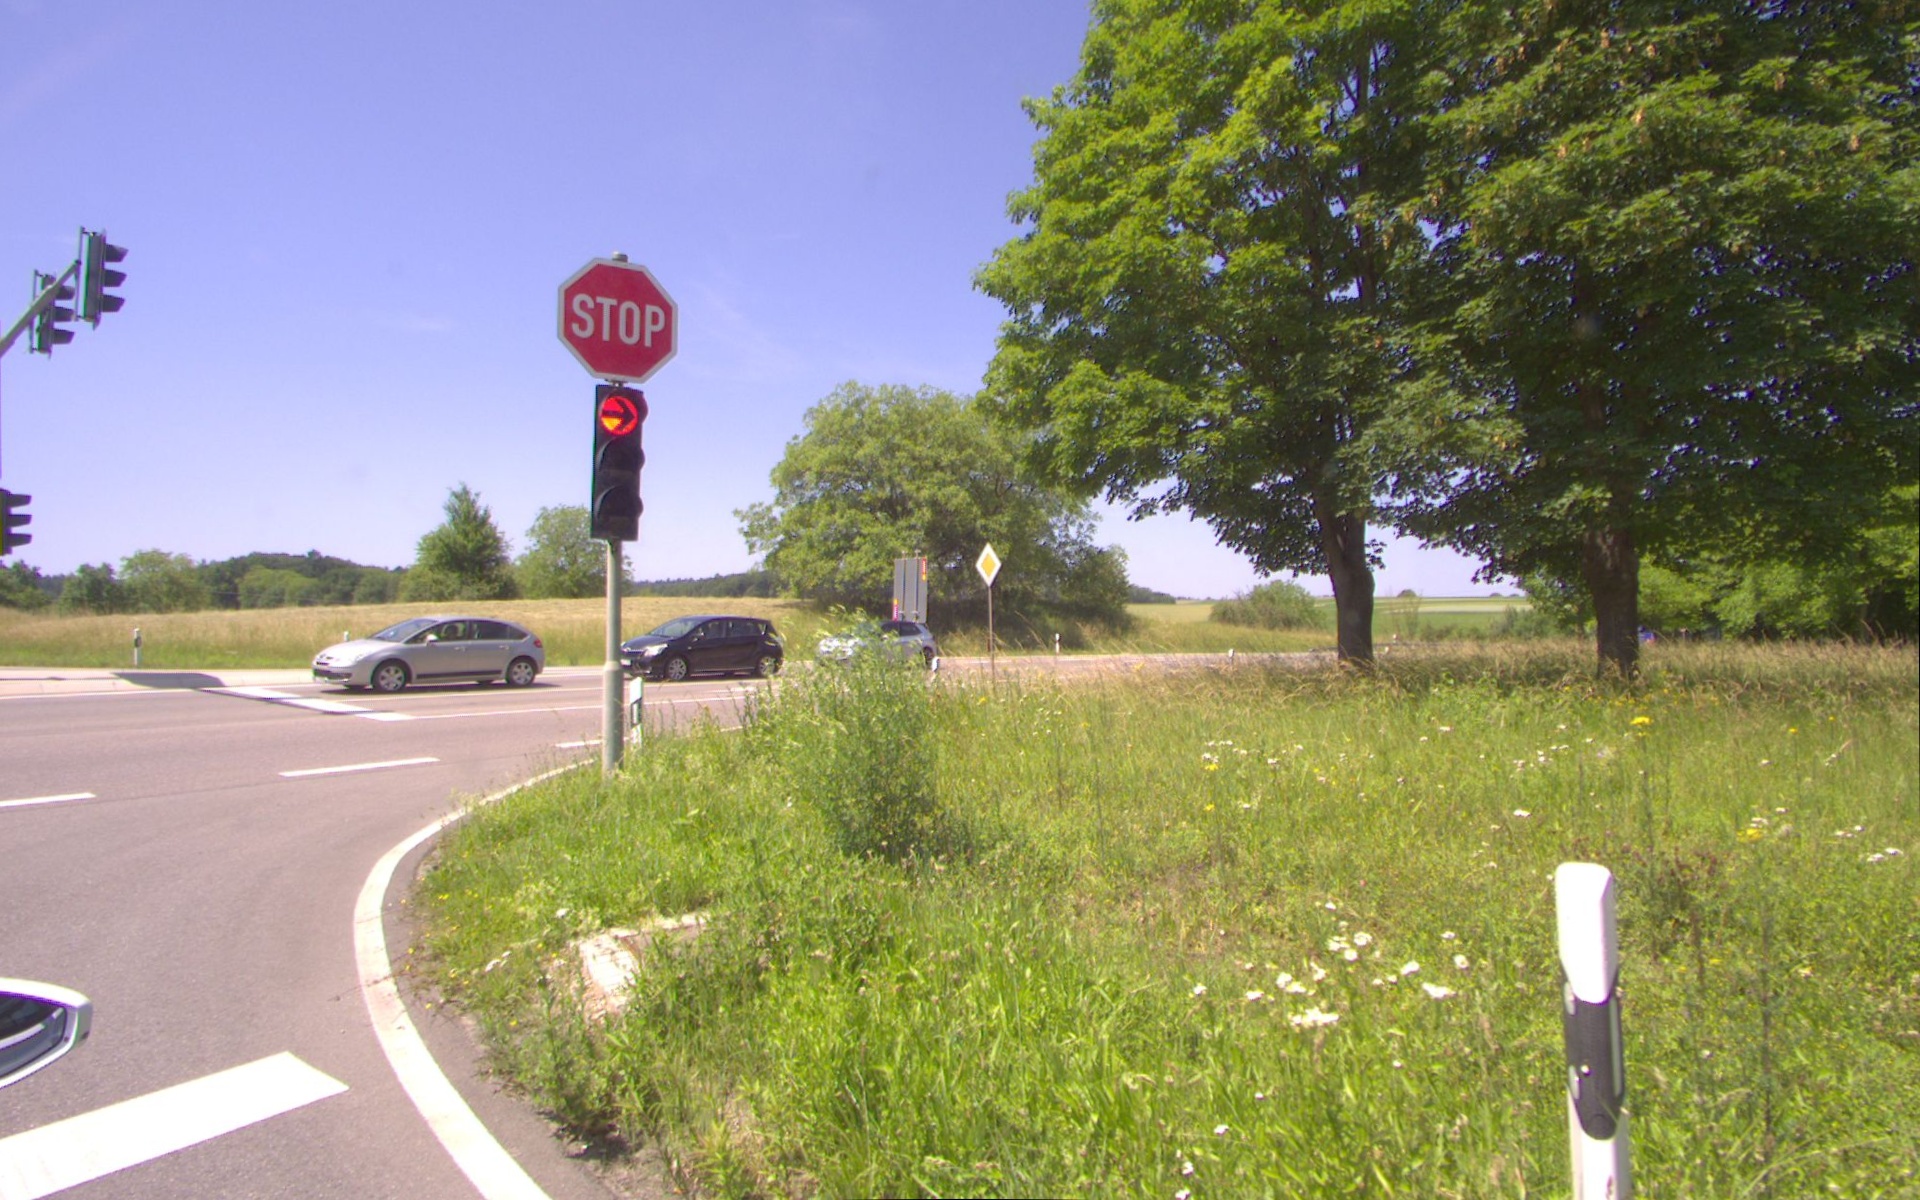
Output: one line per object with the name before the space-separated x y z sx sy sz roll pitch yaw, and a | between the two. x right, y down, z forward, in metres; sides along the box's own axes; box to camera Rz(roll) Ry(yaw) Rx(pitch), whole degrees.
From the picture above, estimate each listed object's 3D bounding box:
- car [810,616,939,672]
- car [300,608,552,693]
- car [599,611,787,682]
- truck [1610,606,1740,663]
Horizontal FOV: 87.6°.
car | -2.610 1.349 31.167 1.635 1.573 3.991 2 0 40
car | -10.658 0.980 20.249 1.707 1.489 4.143 2 0 37
car | -6.616 1.141 25.189 1.708 1.573 4.350 2 0 40
truck | 57.427 2.788 80.123 16.594 4.185 2.833 2 -1 -34
